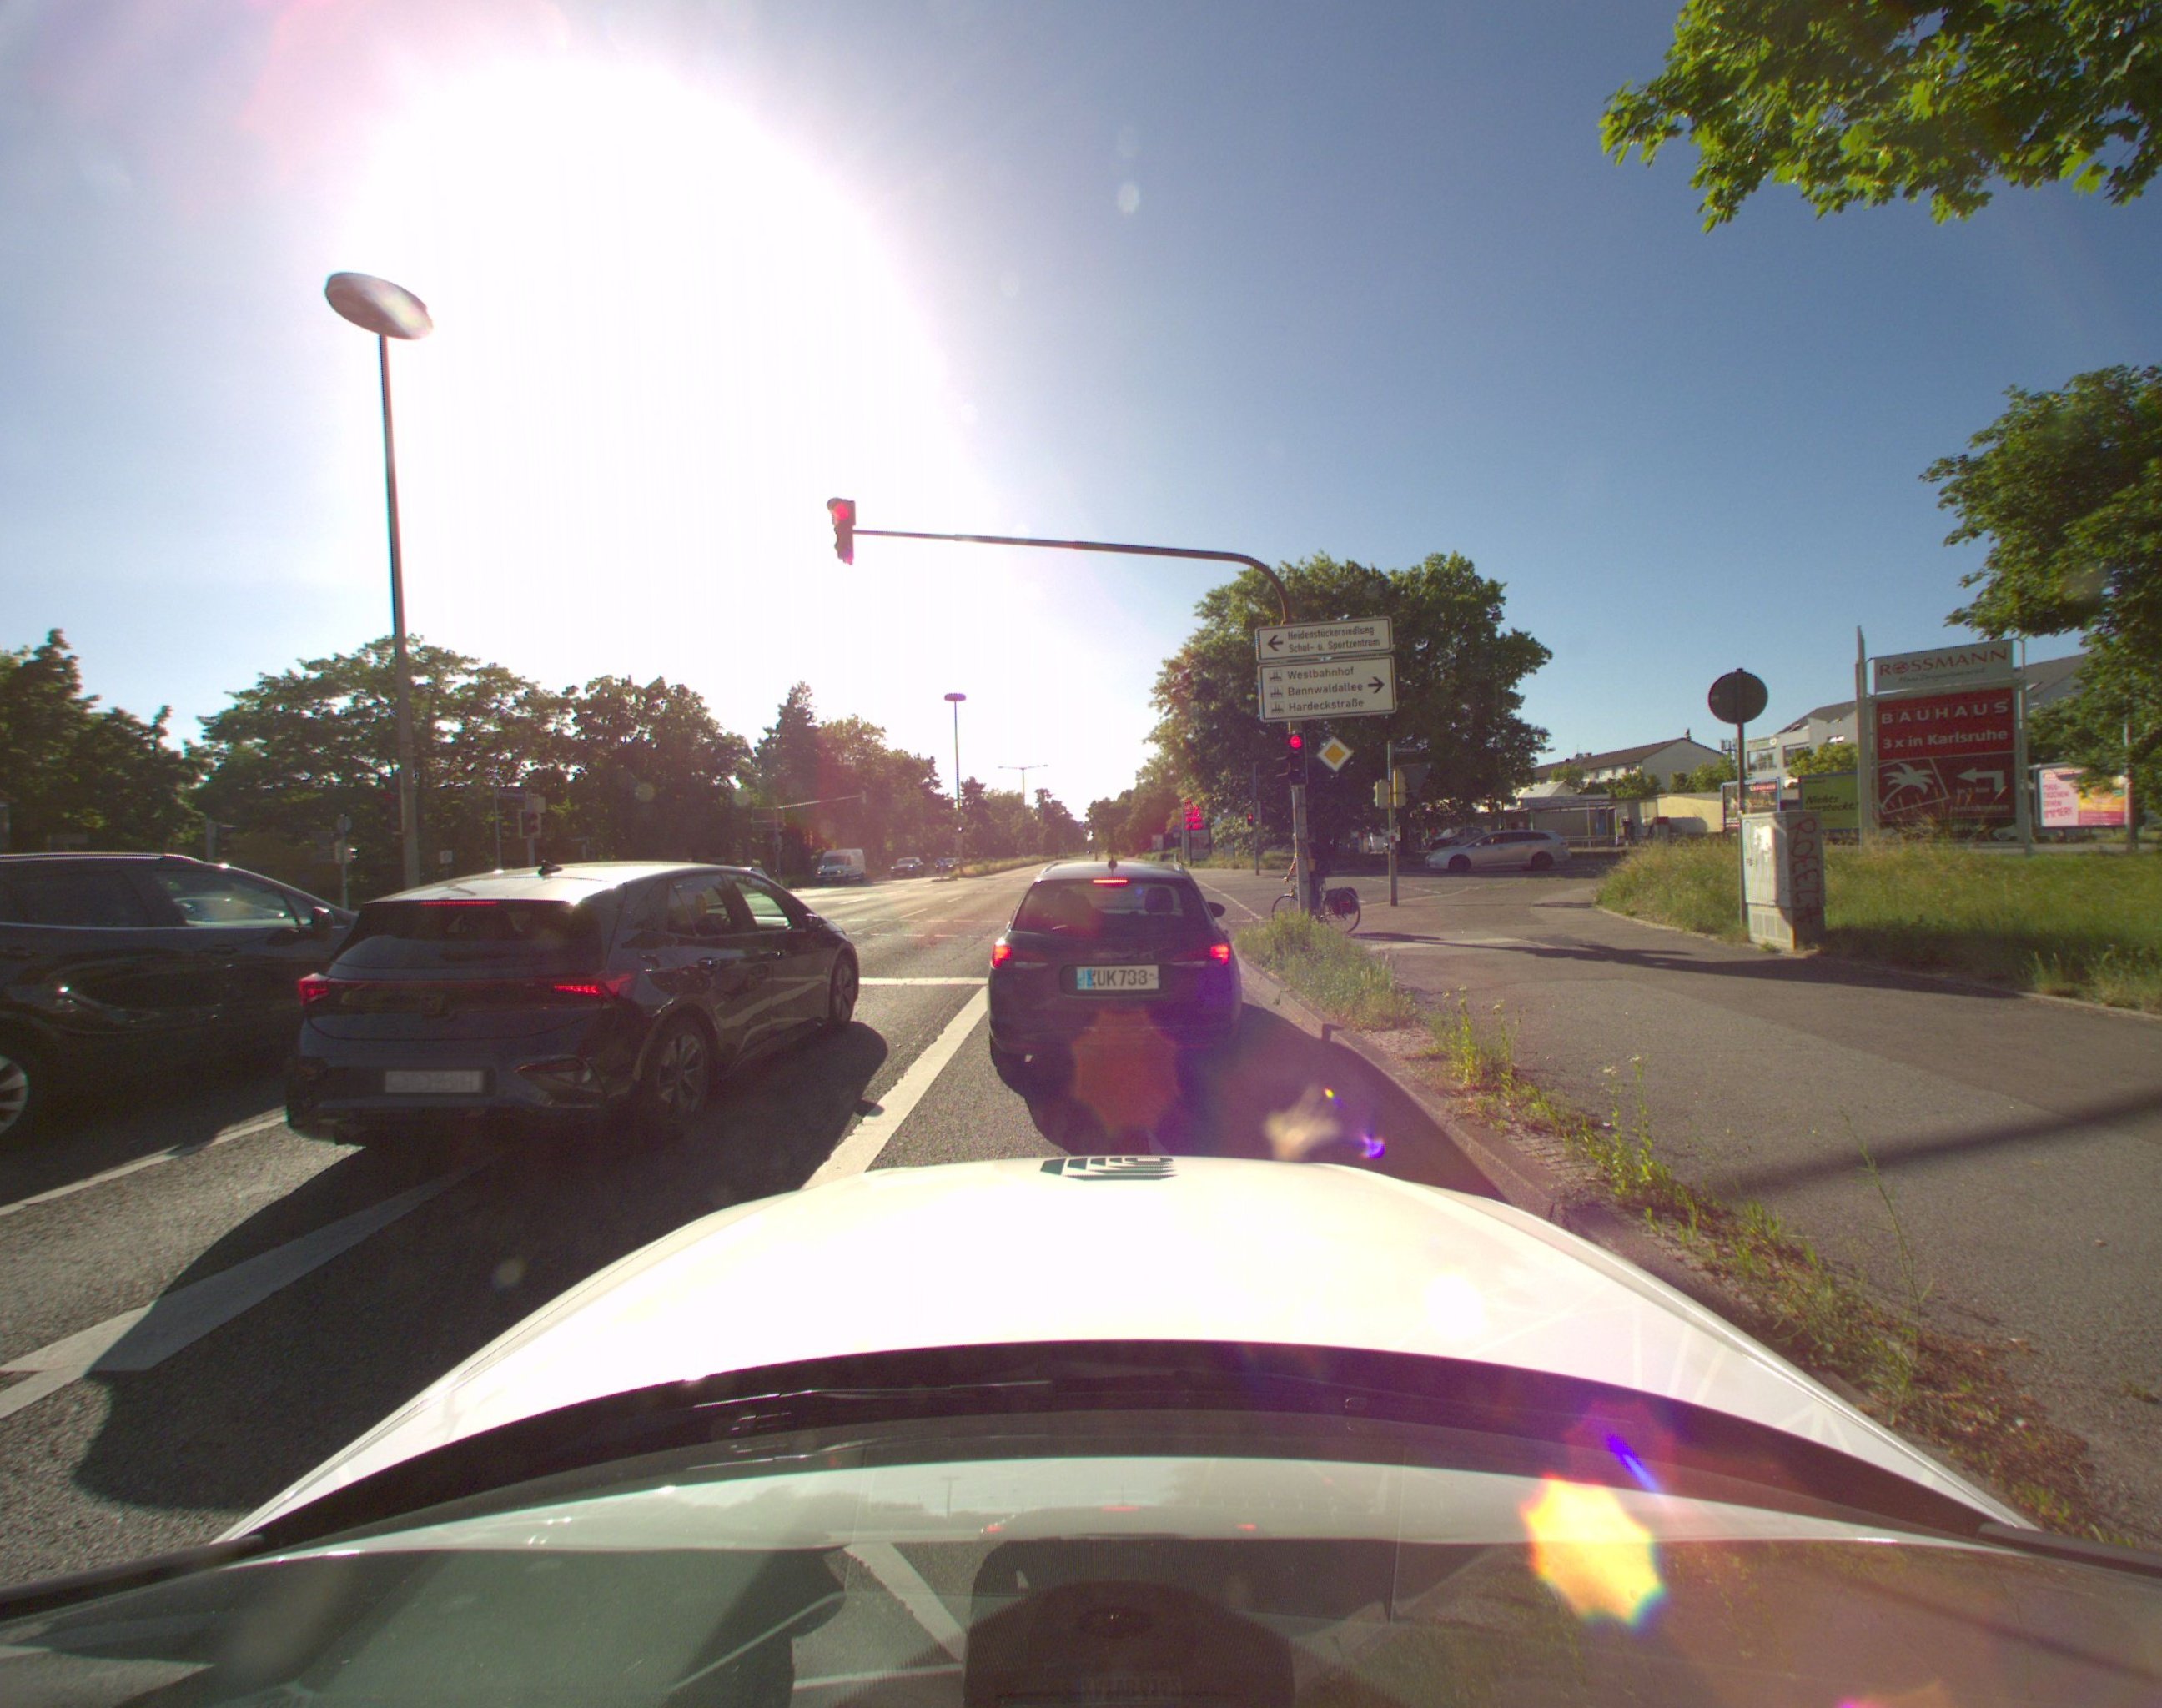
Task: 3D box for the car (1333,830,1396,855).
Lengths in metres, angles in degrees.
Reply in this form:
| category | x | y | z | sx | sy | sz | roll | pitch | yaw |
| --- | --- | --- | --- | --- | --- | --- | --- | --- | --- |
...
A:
| category | x | y | z | sx | sy | sz | roll | pitch | yaw |
| --- | --- | --- | --- | --- | --- | --- | --- | --- | --- |
| car | 19.665 | -0.822 | 56.444 | 3.903 | 1.517 | 1.733 | -3 | 0 | -21 |

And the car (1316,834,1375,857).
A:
| category | x | y | z | sx | sy | sz | roll | pitch | yaw |
| --- | --- | --- | --- | --- | --- | --- | --- | --- | --- |
| car | 19.331 | -0.615 | 59.536 | 3.903 | 1.517 | 1.733 | -3 | 0 | -21 |

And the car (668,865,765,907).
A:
| category | x | y | z | sx | sy | sz | roll | pitch | yaw |
| --- | --- | --- | --- | --- | --- | --- | --- | --- | --- |
| car | -14.643 | 1.236 | 33.014 | 1.680 | 1.433 | 4.617 | -3 | 0 | 2 |

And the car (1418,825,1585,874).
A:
| category | x | y | z | sx | sy | sz | roll | pitch | yaw |
| --- | --- | --- | --- | --- | --- | --- | --- | --- | --- |
| car | 14.966 | -0.166 | 29.305 | 4.969 | 1.486 | 2.007 | -2 | 0 | 13 |

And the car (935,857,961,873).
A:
| category | x | y | z | sx | sy | sz | roll | pitch | yaw |
| --- | --- | --- | --- | --- | --- | --- | --- | --- | --- |
| car | -13.438 | 1.070 | 82.310 | 1.769 | 1.463 | 4.166 | -3 | 0 | 2 |

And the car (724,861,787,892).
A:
| category | x | y | z | sx | sy | sz | roll | pitch | yaw |
| --- | --- | --- | --- | --- | --- | --- | --- | --- | --- |
| car | -17.902 | 1.226 | 45.000 | 1.680 | 1.509 | 4.005 | -3 | 0 | 2 |

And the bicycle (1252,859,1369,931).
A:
| category | x | y | z | sx | sy | sz | roll | pitch | yaw |
| --- | --- | --- | --- | --- | --- | --- | --- | --- | --- |
| bicycle | 3.734 | 0.689 | 13.384 | 0.541 | 1.097 | 1.755 | -3 | -2 | -42 |

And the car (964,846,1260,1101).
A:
| category | x | y | z | sx | sy | sz | roll | pitch | yaw |
| --- | --- | --- | --- | --- | --- | --- | --- | --- | --- |
| car | 0.251 | 0.728 | 6.976 | 1.750 | 1.495 | 4.208 | -1 | 0 | 2 |

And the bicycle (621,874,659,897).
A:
| category | x | y | z | sx | sy | sz | roll | pitch | yaw |
| --- | --- | --- | --- | --- | --- | --- | --- | --- | --- |
| bicycle | -26.291 | 1.857 | 48.554 | 0.873 | 1.212 | 2.535 | -3 | 0 | -1 |

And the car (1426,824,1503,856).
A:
| category | x | y | z | sx | sy | sz | roll | pitch | yaw |
| --- | --- | --- | --- | --- | --- | --- | --- | --- | --- |
| car | 22.380 | -0.814 | 47.537 | 4.002 | 1.680 | 1.733 | -3 | 0 | -21 |

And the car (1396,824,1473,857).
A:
| category | x | y | z | sx | sy | sz | roll | pitch | yaw |
| --- | --- | --- | --- | --- | --- | --- | --- | --- | --- |
| car | 21.441 | -0.816 | 49.401 | 4.003 | 1.749 | 1.985 | -3 | 0 | -22 |

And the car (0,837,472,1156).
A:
| category | x | y | z | sx | sy | sz | roll | pitch | yaw |
| --- | --- | --- | --- | --- | --- | --- | --- | --- | --- |
| car | -6.618 | 0.791 | 5.530 | 1.798 | 1.689 | 4.002 | -3 | 0 | 2 |

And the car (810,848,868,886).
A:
| category | x | y | z | sx | sy | sz | roll | pitch | yaw |
| --- | --- | --- | --- | --- | --- | --- | --- | --- | --- |
| car | -17.241 | 0.890 | 58.426 | 2.092 | 2.492 | 6.006 | -3 | 0 | 2 |

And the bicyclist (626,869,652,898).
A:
| category | x | y | z | sx | sy | sz | roll | pitch | yaw |
| --- | --- | --- | --- | --- | --- | --- | --- | --- | --- |
| bicyclist | -26.288 | 1.733 | 48.450 | 0.874 | 1.648 | 1.198 | -3 | 0 | -4 |

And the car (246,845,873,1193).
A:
| category | x | y | z | sx | sy | sz | roll | pitch | yaw |
| --- | --- | --- | --- | --- | --- | --- | --- | --- | --- |
| car | -2.957 | 0.775 | 5.867 | 1.678 | 1.580 | 4.208 | -1 | 0 | 2 |

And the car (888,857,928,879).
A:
| category | x | y | z | sx | sy | sz | roll | pitch | yaw |
| --- | --- | --- | --- | --- | --- | --- | --- | --- | --- |
| car | -13.792 | 1.109 | 65.295 | 1.986 | 1.601 | 4.617 | -3 | 0 | 2 |

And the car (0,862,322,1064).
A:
| category | x | y | z | sx | sy | sz | roll | pitch | yaw |
| --- | --- | --- | --- | --- | --- | --- | --- | --- | --- |
| car | -10.221 | 0.991 | 7.933 | 1.824 | 1.702 | 3.999 | -3 | 0 | 0 |

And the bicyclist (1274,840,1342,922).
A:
| category | x | y | z | sx | sy | sz | roll | pitch | yaw |
| --- | --- | --- | --- | --- | --- | --- | --- | --- | --- |
| bicyclist | 3.721 | 0.448 | 13.387 | 0.541 | 1.277 | 0.819 | -3 | -2 | -42 |
